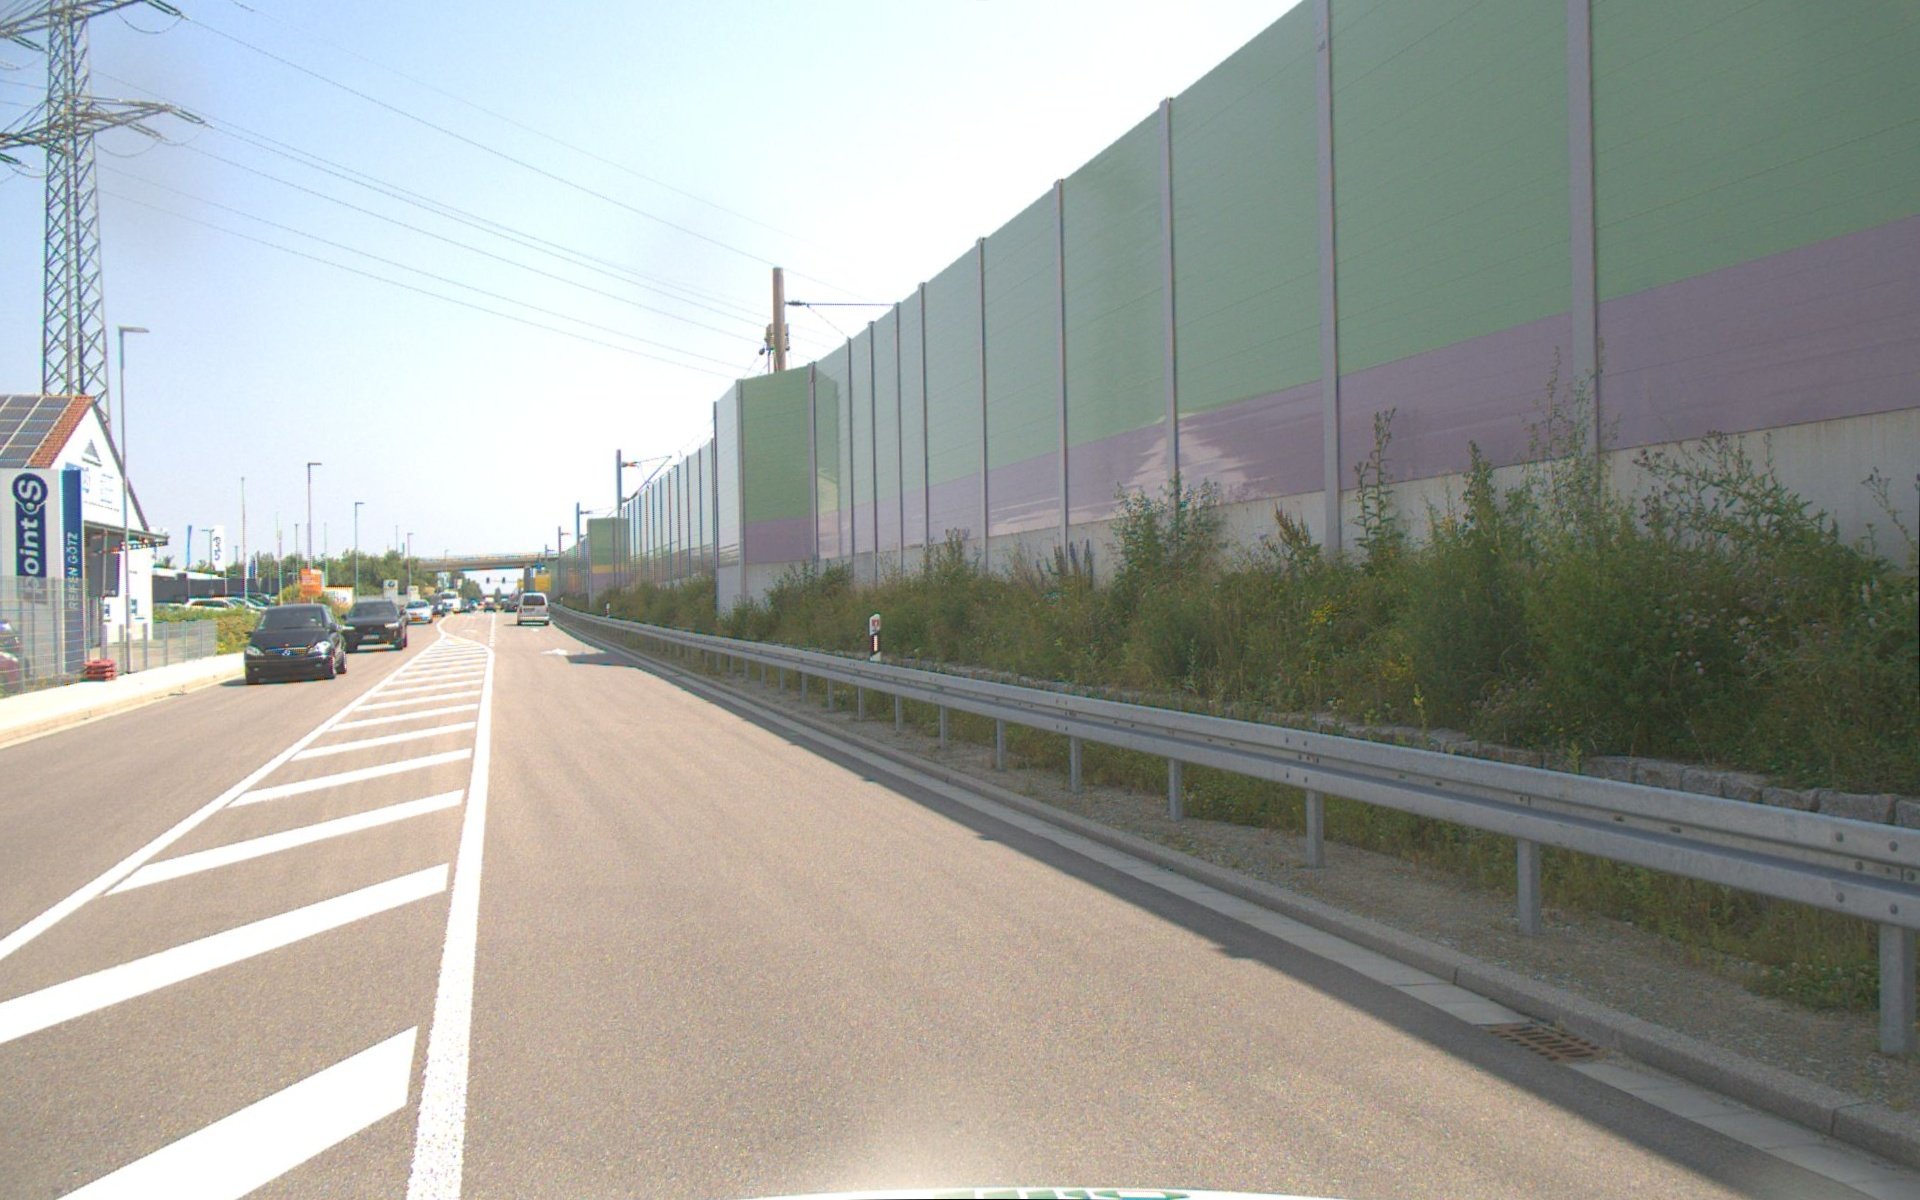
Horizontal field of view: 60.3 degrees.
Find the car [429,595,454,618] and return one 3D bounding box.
[{"bbox_3d":[-45.380,0.602,144.722,1.963,1.906,5.141,-2,0,-19],"label":"car"}]

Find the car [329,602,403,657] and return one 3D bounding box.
[{"bbox_3d":[-19.773,0.940,55.201,1.851,1.644,4.504,-4,1,-15],"label":"car"}]

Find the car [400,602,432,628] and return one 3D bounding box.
[{"bbox_3d":[-34.065,0.926,103.658,1.736,1.491,4.239,-3,1,-17],"label":"car"}]

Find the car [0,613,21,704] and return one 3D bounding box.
[{"bbox_3d":[-17.828,1.014,26.931,1.710,1.519,4.075,-1,0,38],"label":"car"}]

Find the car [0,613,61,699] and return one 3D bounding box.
[{"bbox_3d":[-18.497,1.040,29.519,1.712,1.519,3.978,-1,0,41],"label":"car"}]

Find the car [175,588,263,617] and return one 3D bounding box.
[{"bbox_3d":[-40.523,0.122,90.501,4.158,1.481,1.755,2,-1,-18],"label":"car"}]

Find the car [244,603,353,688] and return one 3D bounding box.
[{"bbox_3d":[-14.277,0.930,35.858,1.714,1.621,3.779,-4,1,-16],"label":"car"}]

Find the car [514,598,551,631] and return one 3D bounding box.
[{"bbox_3d":[-24.329,0.788,94.119,1.960,1.788,3.985,-1,0,-14],"label":"car"}]

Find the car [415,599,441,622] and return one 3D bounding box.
[{"bbox_3d":[-39.057,0.767,121.471,1.642,1.628,3.955,-3,1,-16],"label":"car"}]
